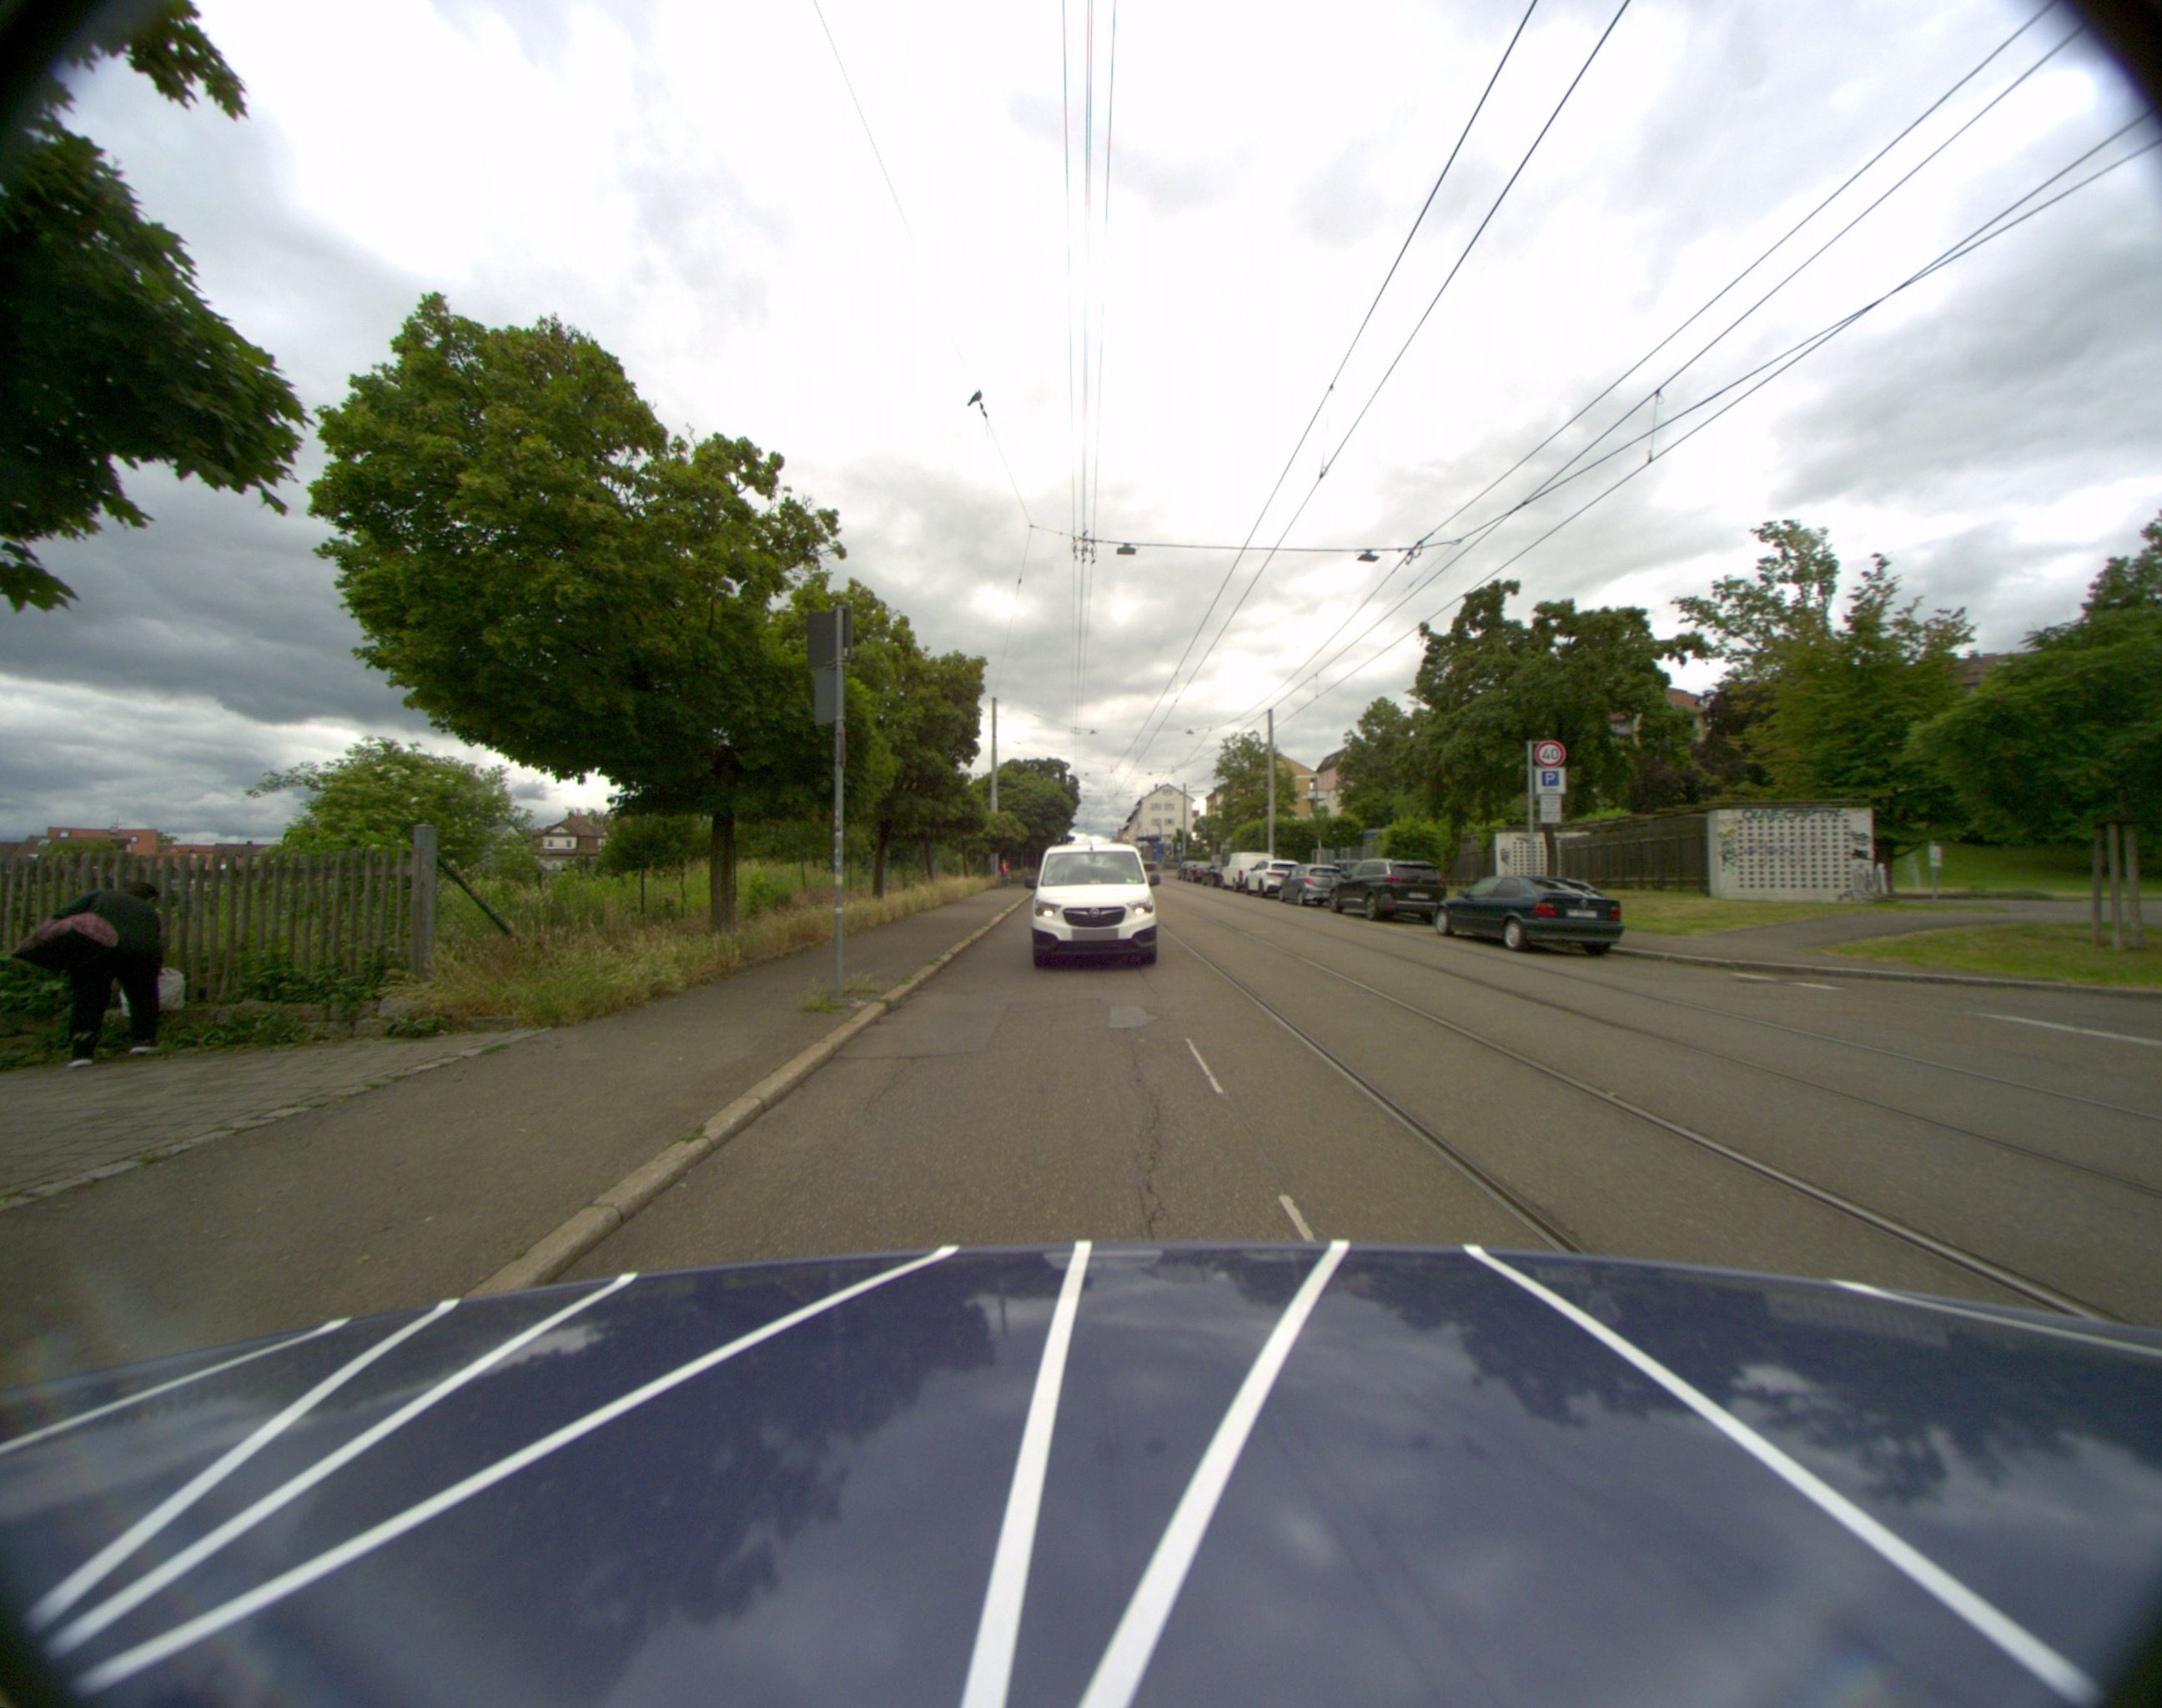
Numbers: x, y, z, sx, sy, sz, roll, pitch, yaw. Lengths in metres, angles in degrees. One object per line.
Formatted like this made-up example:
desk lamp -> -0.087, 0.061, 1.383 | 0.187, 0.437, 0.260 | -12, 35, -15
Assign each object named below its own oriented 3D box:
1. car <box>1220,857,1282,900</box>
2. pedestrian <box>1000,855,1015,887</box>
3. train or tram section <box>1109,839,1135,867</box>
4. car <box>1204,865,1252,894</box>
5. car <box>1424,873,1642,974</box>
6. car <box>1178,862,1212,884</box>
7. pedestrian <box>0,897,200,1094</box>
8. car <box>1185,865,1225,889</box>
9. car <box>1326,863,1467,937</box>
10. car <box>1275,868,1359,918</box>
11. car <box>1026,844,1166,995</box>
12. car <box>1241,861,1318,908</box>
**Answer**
car -> 8.545, 1.180, 38.551 | 1.974, 1.902, 4.733 | 1, 1, -1
pedestrian -> -3.760, 0.867, 38.801 | 0.716, 1.611, 0.718 | 0, 1, 0
train or tram section -> 5.624, -0.191, 105.716 | 2.857, 3.615, 12.128 | 0, 1, 0
car -> 8.470, 1.439, 44.206 | 1.845, 1.379, 4.516 | 1, 1, -1
car -> 8.426, 1.205, 14.655 | 1.625, 1.469, 4.155 | 1, 1, -1
car -> 8.358, 1.399, 56.244 | 1.794, 1.396, 4.160 | 1, 1, -1
pedestrian -> -7.373, 0.992, 5.618 | 0.747, 1.301, 0.808 | 0, 1, 1
car -> 8.256, 1.485, 50.791 | 1.845, 1.379, 4.438 | 1, 1, -1
car -> 8.584, 1.172, 21.186 | 1.974, 1.677, 4.443 | 1, 1, -1
car -> 8.393, 1.344, 27.393 | 1.743, 1.500, 3.868 | 1, 1, -1
car -> 0.225, 0.800, 11.587 | 1.730, 1.850, 4.420 | 0, 0, 1
car -> 8.400, 1.244, 32.647 | 1.974, 1.677, 4.631 | 1, 1, -1
